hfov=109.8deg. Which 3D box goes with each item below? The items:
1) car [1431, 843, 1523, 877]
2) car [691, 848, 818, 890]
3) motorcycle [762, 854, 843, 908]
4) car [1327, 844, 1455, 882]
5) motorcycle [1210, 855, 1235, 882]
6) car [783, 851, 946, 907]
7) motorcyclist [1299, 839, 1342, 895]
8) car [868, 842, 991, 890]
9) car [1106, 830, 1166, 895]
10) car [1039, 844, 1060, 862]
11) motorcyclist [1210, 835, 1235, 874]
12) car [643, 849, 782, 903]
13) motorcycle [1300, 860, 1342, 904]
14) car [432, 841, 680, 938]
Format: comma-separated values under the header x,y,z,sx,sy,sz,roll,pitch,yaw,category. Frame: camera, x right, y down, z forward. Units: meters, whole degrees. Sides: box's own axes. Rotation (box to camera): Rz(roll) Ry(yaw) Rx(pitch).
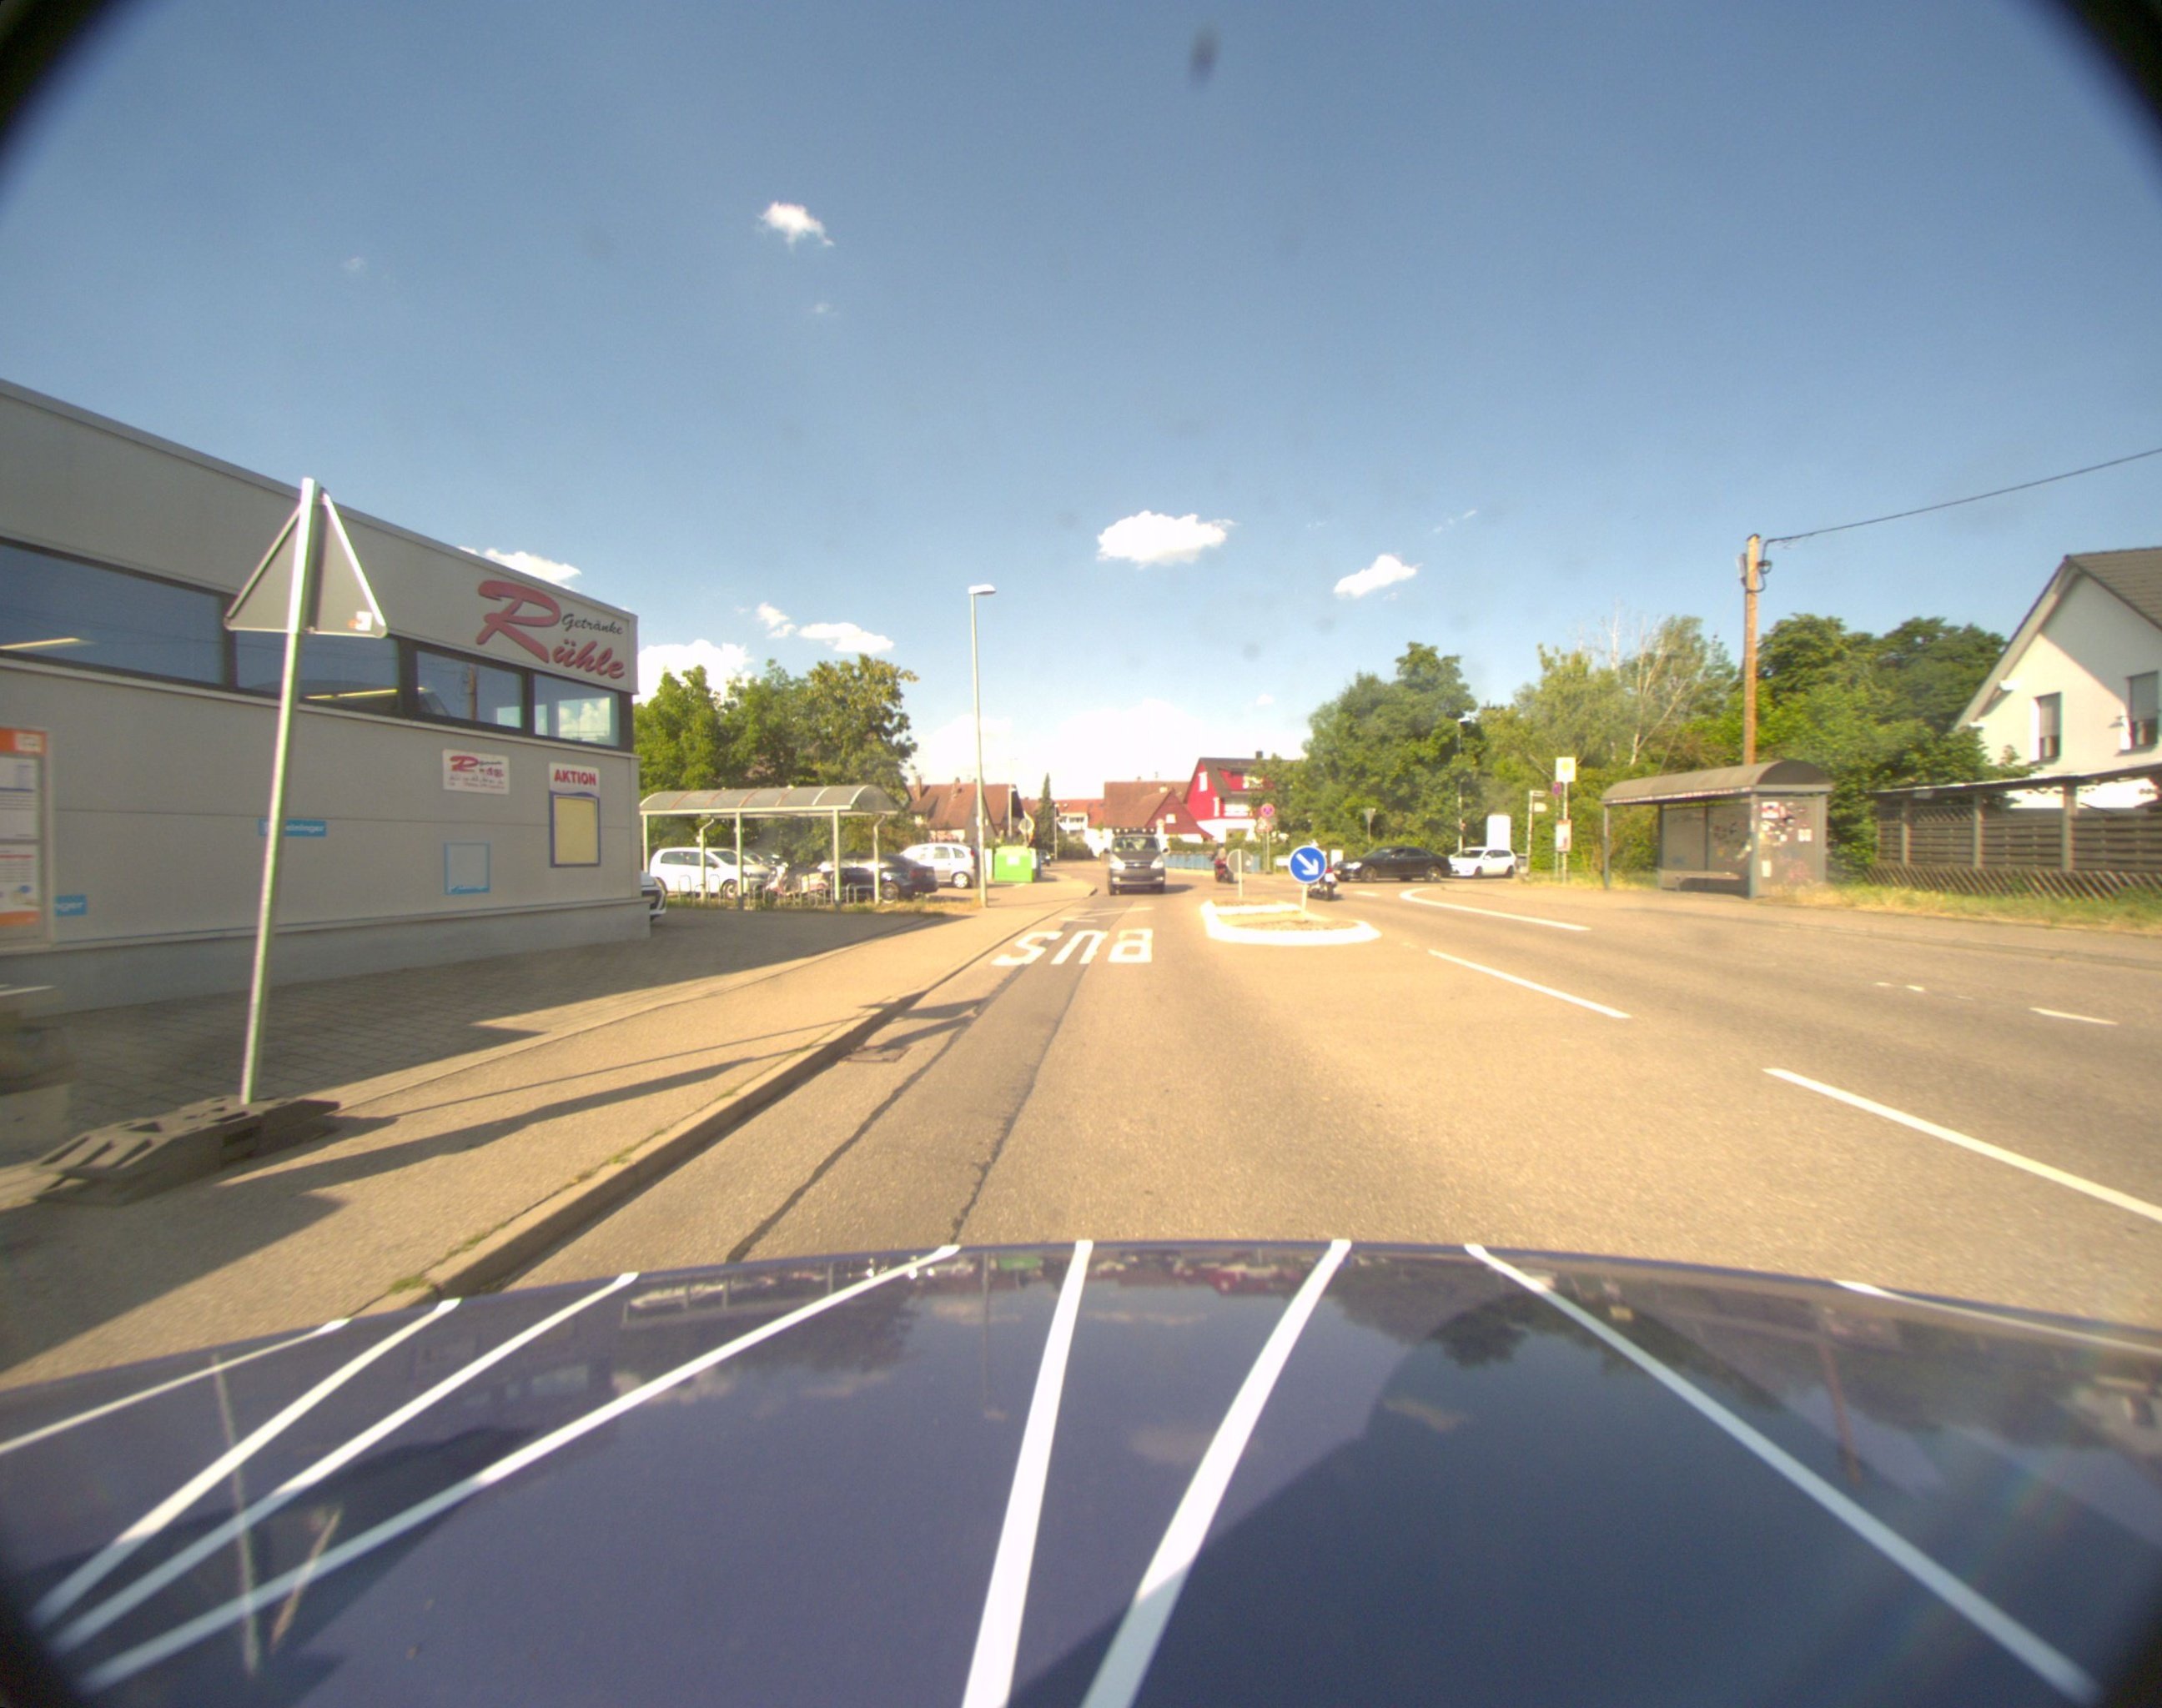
x,y,z,sx,sy,sz,roll,pitch,yaw,category
18.837,0.227,36.093,4.282,1.483,1.857,-1,2,-31,car
-12.013,0.530,28.055,3.947,1.440,1.683,0,2,6,car
-7.032,0.679,19.239,1.831,1.316,0.640,1,1,-11,motorcycle
12.543,0.339,30.764,4.849,1.423,1.768,-1,2,-19,car
5.762,0.583,30.950,0.539,1.007,2.027,-3,1,-2,motorcycle
-6.040,0.662,21.370,4.072,1.409,1.626,1,2,8,car
6.289,0.327,20.012,0.804,1.428,1.037,-2,1,3,motorcyclist
-5.367,0.405,27.186,3.947,1.594,1.683,0,2,6,car
1.839,0.237,26.396,1.819,1.989,4.821,-2,1,3,car
-3.147,-0.139,74.938,1.973,1.647,3.998,1,1,-3,car
5.748,0.014,30.943,0.738,1.518,1.016,-4,2,-1,motorcyclist
-10.756,0.614,22.261,3.442,1.409,1.499,1,2,11,car
6.285,0.706,19.970,0.525,1.007,2.028,-2,1,3,motorcycle
-8.855,0.536,12.875,3.560,1.449,1.500,1,1,15,car
